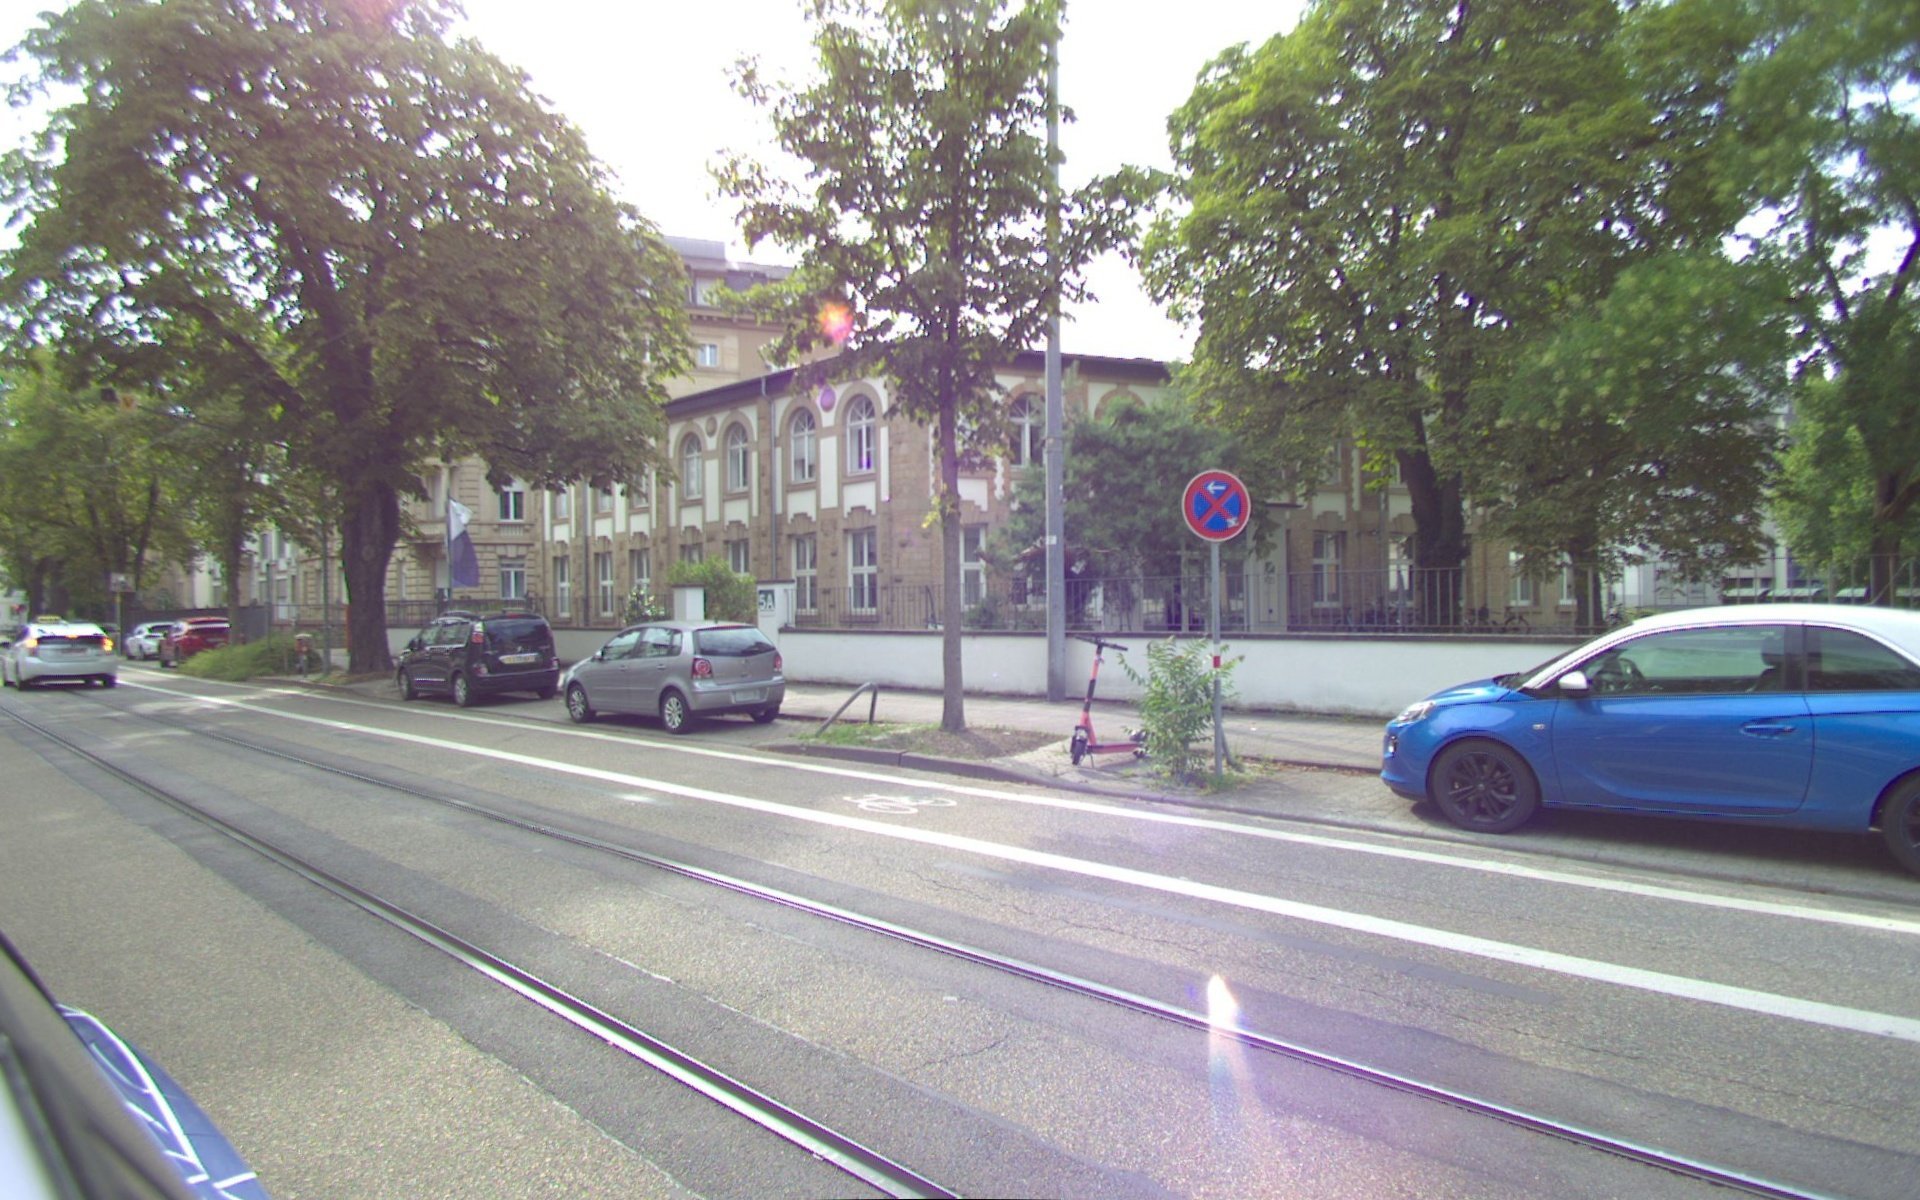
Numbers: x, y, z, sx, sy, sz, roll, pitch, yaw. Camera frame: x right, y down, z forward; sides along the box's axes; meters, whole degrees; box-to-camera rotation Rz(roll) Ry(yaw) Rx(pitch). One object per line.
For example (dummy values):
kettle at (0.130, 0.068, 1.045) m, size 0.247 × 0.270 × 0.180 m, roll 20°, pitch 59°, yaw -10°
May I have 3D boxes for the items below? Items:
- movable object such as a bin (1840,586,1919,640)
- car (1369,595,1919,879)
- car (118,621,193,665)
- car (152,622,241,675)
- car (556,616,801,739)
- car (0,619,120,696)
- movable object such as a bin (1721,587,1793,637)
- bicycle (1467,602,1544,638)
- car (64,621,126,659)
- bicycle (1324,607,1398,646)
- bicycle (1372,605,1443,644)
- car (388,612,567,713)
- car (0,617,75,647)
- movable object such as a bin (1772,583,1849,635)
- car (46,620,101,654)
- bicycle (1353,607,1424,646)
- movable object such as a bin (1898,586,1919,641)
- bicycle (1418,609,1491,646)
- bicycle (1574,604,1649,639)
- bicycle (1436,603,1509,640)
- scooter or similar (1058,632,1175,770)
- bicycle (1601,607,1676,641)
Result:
movable object such as a bin at (25.006, 0.346, 27.478) m, size 1.103 × 1.441 × 1.288 m, roll 0°, pitch 0°, yaw -21°
car at (4.772, 0.733, 6.548) m, size 3.600 × 1.476 × 1.611 m, roll -2°, pitch -1°, yaw 41°
car at (-31.939, 1.679, 40.146) m, size 3.904 × 1.613 × 1.637 m, roll -2°, pitch -1°, yaw 41°
car at (-25.678, 1.584, 33.987) m, size 3.904 × 1.646 × 1.637 m, roll -2°, pitch -1°, yaw 41°
car at (-4.023, 0.997, 14.218) m, size 3.572 × 1.476 × 1.611 m, roll -2°, pitch -1°, yaw 41°
car at (-21.189, 1.275, 23.665) m, size 4.332 × 1.624 × 1.714 m, roll -1°, pitch -2°, yaw 41°
movable object such as a bin at (23.784, 0.361, 30.235) m, size 1.103 × 1.441 × 1.288 m, roll 0°, pitch 0°, yaw -21°
bicycle at (16.690, 0.609, 30.980) m, size 1.978 × 1.051 × 0.586 m, roll -1°, pitch 0°, yaw 44°
car at (-40.072, 1.825, 46.842) m, size 3.904 × 1.646 × 1.637 m, roll -2°, pitch -1°, yaw 41°
bicycle at (11.302, 0.736, 28.615) m, size 0.584 × 1.051 × 1.984 m, roll -1°, pitch 0°, yaw -30°
bicycle at (12.876, 0.691, 29.185) m, size 0.584 × 1.051 × 1.984 m, roll -1°, pitch 0°, yaw -23°
car at (-8.926, 1.080, 18.617) m, size 3.723 × 1.646 × 1.637 m, roll -2°, pitch -1°, yaw 41°
car at (-86.699, 2.921, 94.537) m, size 1.985 × 2.620 × 5.896 m, roll -1°, pitch -1°, yaw 19°
movable object such as a bin at (24.296, 0.264, 28.939) m, size 1.103 × 1.441 × 1.288 m, roll 0°, pitch 0°, yaw -21°
car at (-45.420, 1.894, 51.836) m, size 3.904 × 1.646 × 1.637 m, roll -2°, pitch -1°, yaw 41°
bicycle at (12.181, 0.731, 28.852) m, size 0.584 × 1.051 × 1.984 m, roll -1°, pitch 0°, yaw -23°
movable object such as a bin at (25.384, 0.341, 26.159) m, size 1.103 × 1.441 × 1.288 m, roll 0°, pitch 0°, yaw -21°
bicycle at (14.476, 0.783, 29.676) m, size 0.584 × 1.051 × 1.984 m, roll -1°, pitch 0°, yaw -23°
bicycle at (20.619, 0.667, 32.056) m, size 0.584 × 1.051 × 1.984 m, roll -1°, pitch 0°, yaw -23°
bicycle at (15.169, 0.627, 30.016) m, size 0.584 × 1.051 × 1.984 m, roll -1°, pitch 0°, yaw -23°
scooter or similar at (1.472, 0.928, 9.514) m, size 0.988 × 1.176 × 0.370 m, roll -3°, pitch 0°, yaw -24°
bicycle at (21.838, 0.761, 32.607) m, size 0.584 × 1.051 × 1.984 m, roll -1°, pitch 0°, yaw -23°
